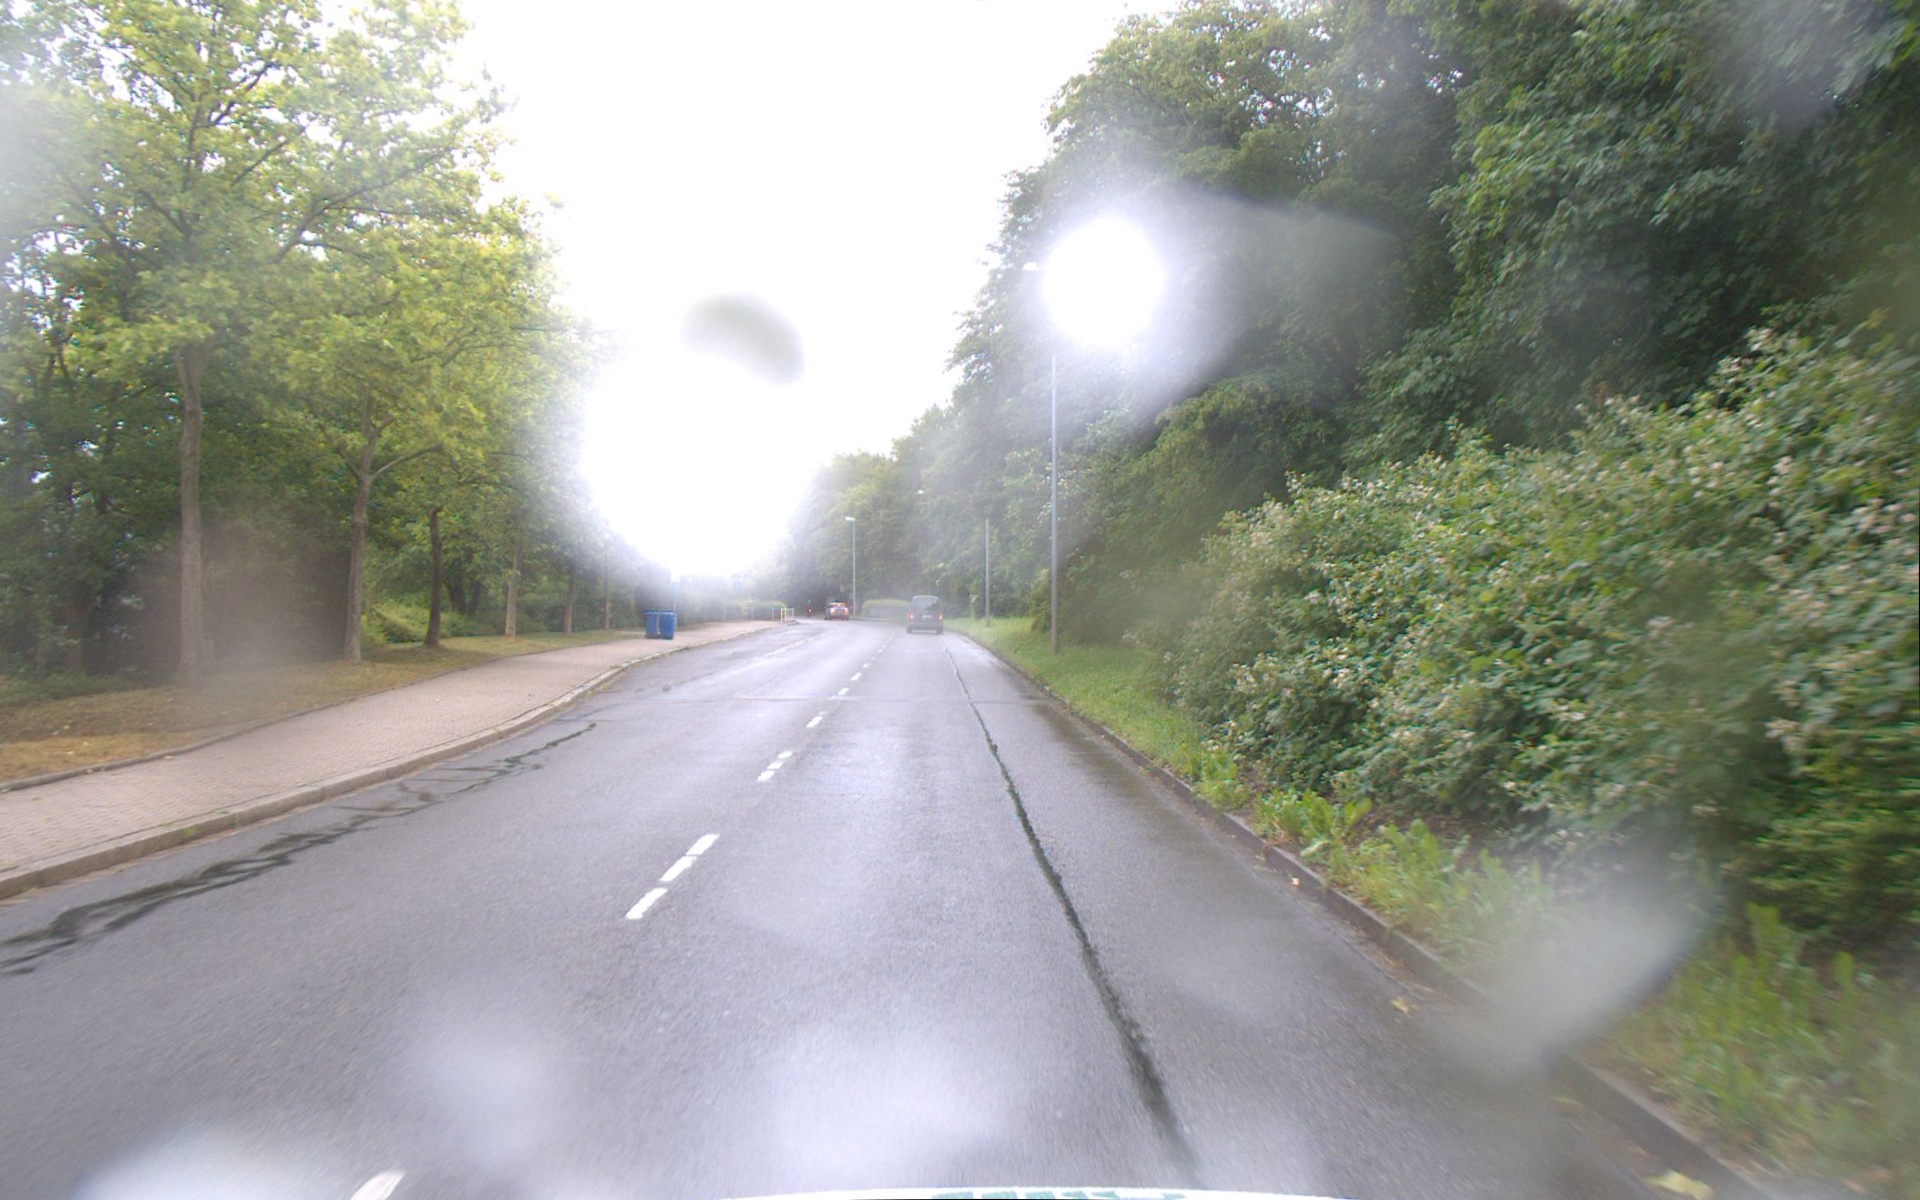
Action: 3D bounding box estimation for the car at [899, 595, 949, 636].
[{"bbox_3d":[-1.835,0.739,81.996,1.956,1.825,3.993,3,1,-8],"label":"car"}]

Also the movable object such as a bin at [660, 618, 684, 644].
[{"bbox_3d":[-11.857,1.266,68.104,0.660,1.044,0.825,-2,0,-33],"label":"movable object such as a bin"}]

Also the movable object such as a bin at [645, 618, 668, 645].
[{"bbox_3d":[-12.427,1.292,67.715,0.660,1.044,0.825,-2,0,-33],"label":"movable object such as a bin"}]

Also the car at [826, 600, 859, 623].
[{"bbox_3d":[-9.802,0.937,137.515,1.961,1.803,3.982,0,0,-16],"label":"car"}]
